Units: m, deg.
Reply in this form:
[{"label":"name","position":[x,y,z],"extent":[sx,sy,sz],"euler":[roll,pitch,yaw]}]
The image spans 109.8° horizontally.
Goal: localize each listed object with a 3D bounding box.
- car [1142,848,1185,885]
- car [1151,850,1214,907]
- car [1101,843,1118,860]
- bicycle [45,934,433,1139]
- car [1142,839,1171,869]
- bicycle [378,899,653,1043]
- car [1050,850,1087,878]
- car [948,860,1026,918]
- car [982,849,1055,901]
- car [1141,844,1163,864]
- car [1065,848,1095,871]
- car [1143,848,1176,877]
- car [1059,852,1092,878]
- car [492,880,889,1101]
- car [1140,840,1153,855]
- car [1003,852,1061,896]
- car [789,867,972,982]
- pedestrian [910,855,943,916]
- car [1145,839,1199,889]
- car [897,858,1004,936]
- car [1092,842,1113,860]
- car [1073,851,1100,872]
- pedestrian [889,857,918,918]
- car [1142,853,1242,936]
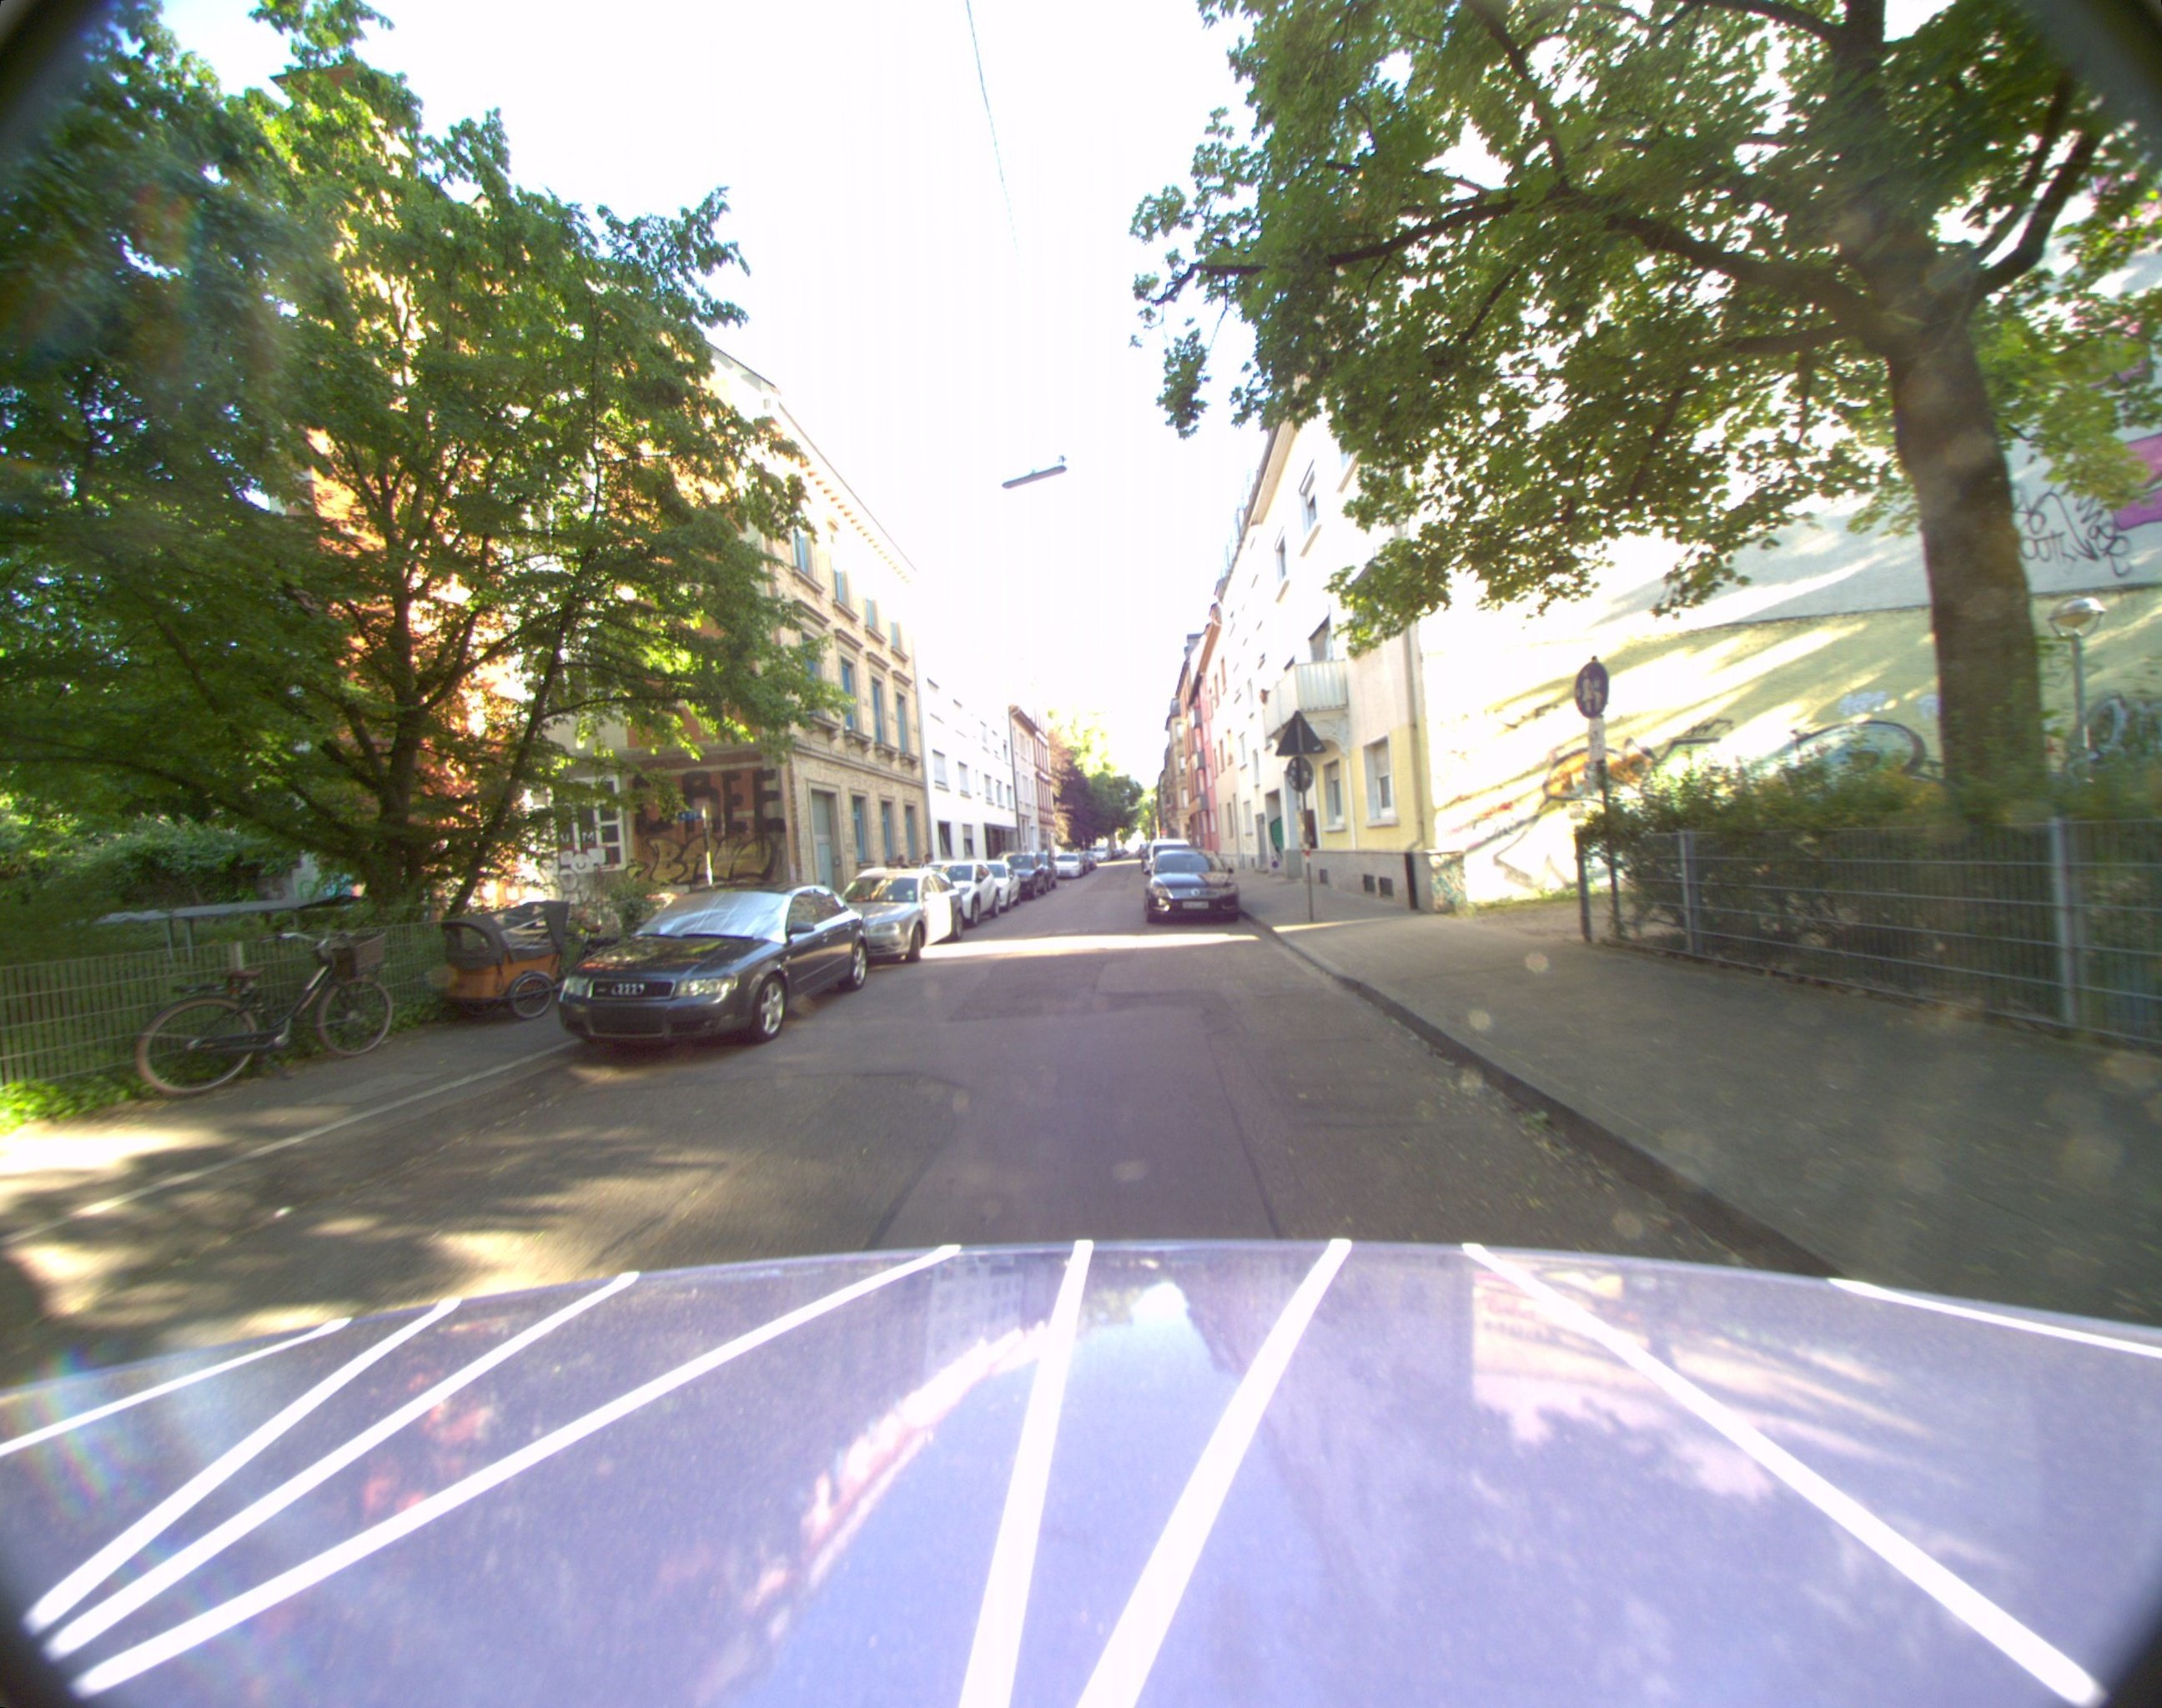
[{"label":"car","position":[3.777,0.507,34.344],"extent":[1.674,1.519,4.087],"euler":[-1,1,10]},{"label":"car","position":[2.851,0.638,21.675],"extent":[1.596,1.442,3.486],"euler":[-1,1,6]},{"label":"car","position":[3.499,-0.317,93.137],"extent":[1.768,1.846,4.286],"euler":[-4,1,4]},{"label":"bicycle","position":[-6.772,1.396,6.329],"extent":[0.848,1.194,1.982],"euler":[-4,0,6]},{"label":"car","position":[4.807,-0.020,48.763],"extent":[1.768,1.814,4.104],"euler":[-1,1,4]},{"label":"bicycle","position":[-6.470,1.279,8.956],"extent":[1.293,1.294,2.328],"euler":[-2,1,7]},{"label":"car","position":[-0.693,0.568,45.019],"extent":[1.768,1.508,4.104],"euler":[-1,1,4]},{"label":"car","position":[-2.712,0.965,22.715],"extent":[1.597,1.442,4.003],"euler":[-2,1,2]},{"label":"car","position":[-2.156,0.690,27.517],"extent":[1.769,1.657,4.330],"euler":[-3,0,6]},{"label":"car","position":[5.972,-0.031,63.940],"extent":[1.768,1.525,4.104],"euler":[-1,1,4]},{"label":"car","position":[-0.065,0.376,54.228],"extent":[1.768,1.525,4.104],"euler":[-2,1,4]},{"label":"car","position":[4.445,0.454,43.434],"extent":[1.768,1.464,3.816],"euler":[-1,1,4]},{"label":"car","position":[-0.336,0.703,49.777],"extent":[1.768,1.525,4.104],"euler":[-2,1,4]},{"label":"car","position":[-3.656,1.164,8.213],"extent":[1.725,1.485,4.414],"euler":[-3,1,3]},{"label":"car","position":[9.772,-1.004,113.482],"extent":[1.768,2.075,4.264],"euler":[-1,1,4]},{"label":"car","position":[-2.025,0.809,32.690],"extent":[1.885,1.657,4.329],"euler":[-1,1,4]},{"label":"car","position":[-3.248,1.076,13.282],"extent":[1.662,1.485,4.354],"euler":[-2,1,5]},{"label":"pedestrian","position":[-4.395,0.896,21.691],"extent":[0.712,1.699,0.752],"euler":[-1,1,4]},{"label":"car","position":[3.442,0.325,29.413],"extent":[1.753,1.731,4.315],"euler":[-1,1,3]},{"label":"car","position":[-3.040,0.945,18.412],"extent":[1.597,1.576,3.764],"euler":[-3,0,4]},{"label":"car","position":[2.511,-0.390,86.587],"extent":[1.865,1.970,4.482],"euler":[-1,1,8]},{"label":"car","position":[0.484,0.553,59.359],"extent":[1.768,1.525,4.104],"euler":[-1,1,4]},{"label":"pedestrian","position":[-5.089,0.950,21.791],"extent":[0.598,1.699,0.706],"euler":[-1,1,4]},{"label":"car","position":[2.201,0.742,16.083],"extent":[1.783,1.435,4.393],"euler":[-1,1,4]}]
